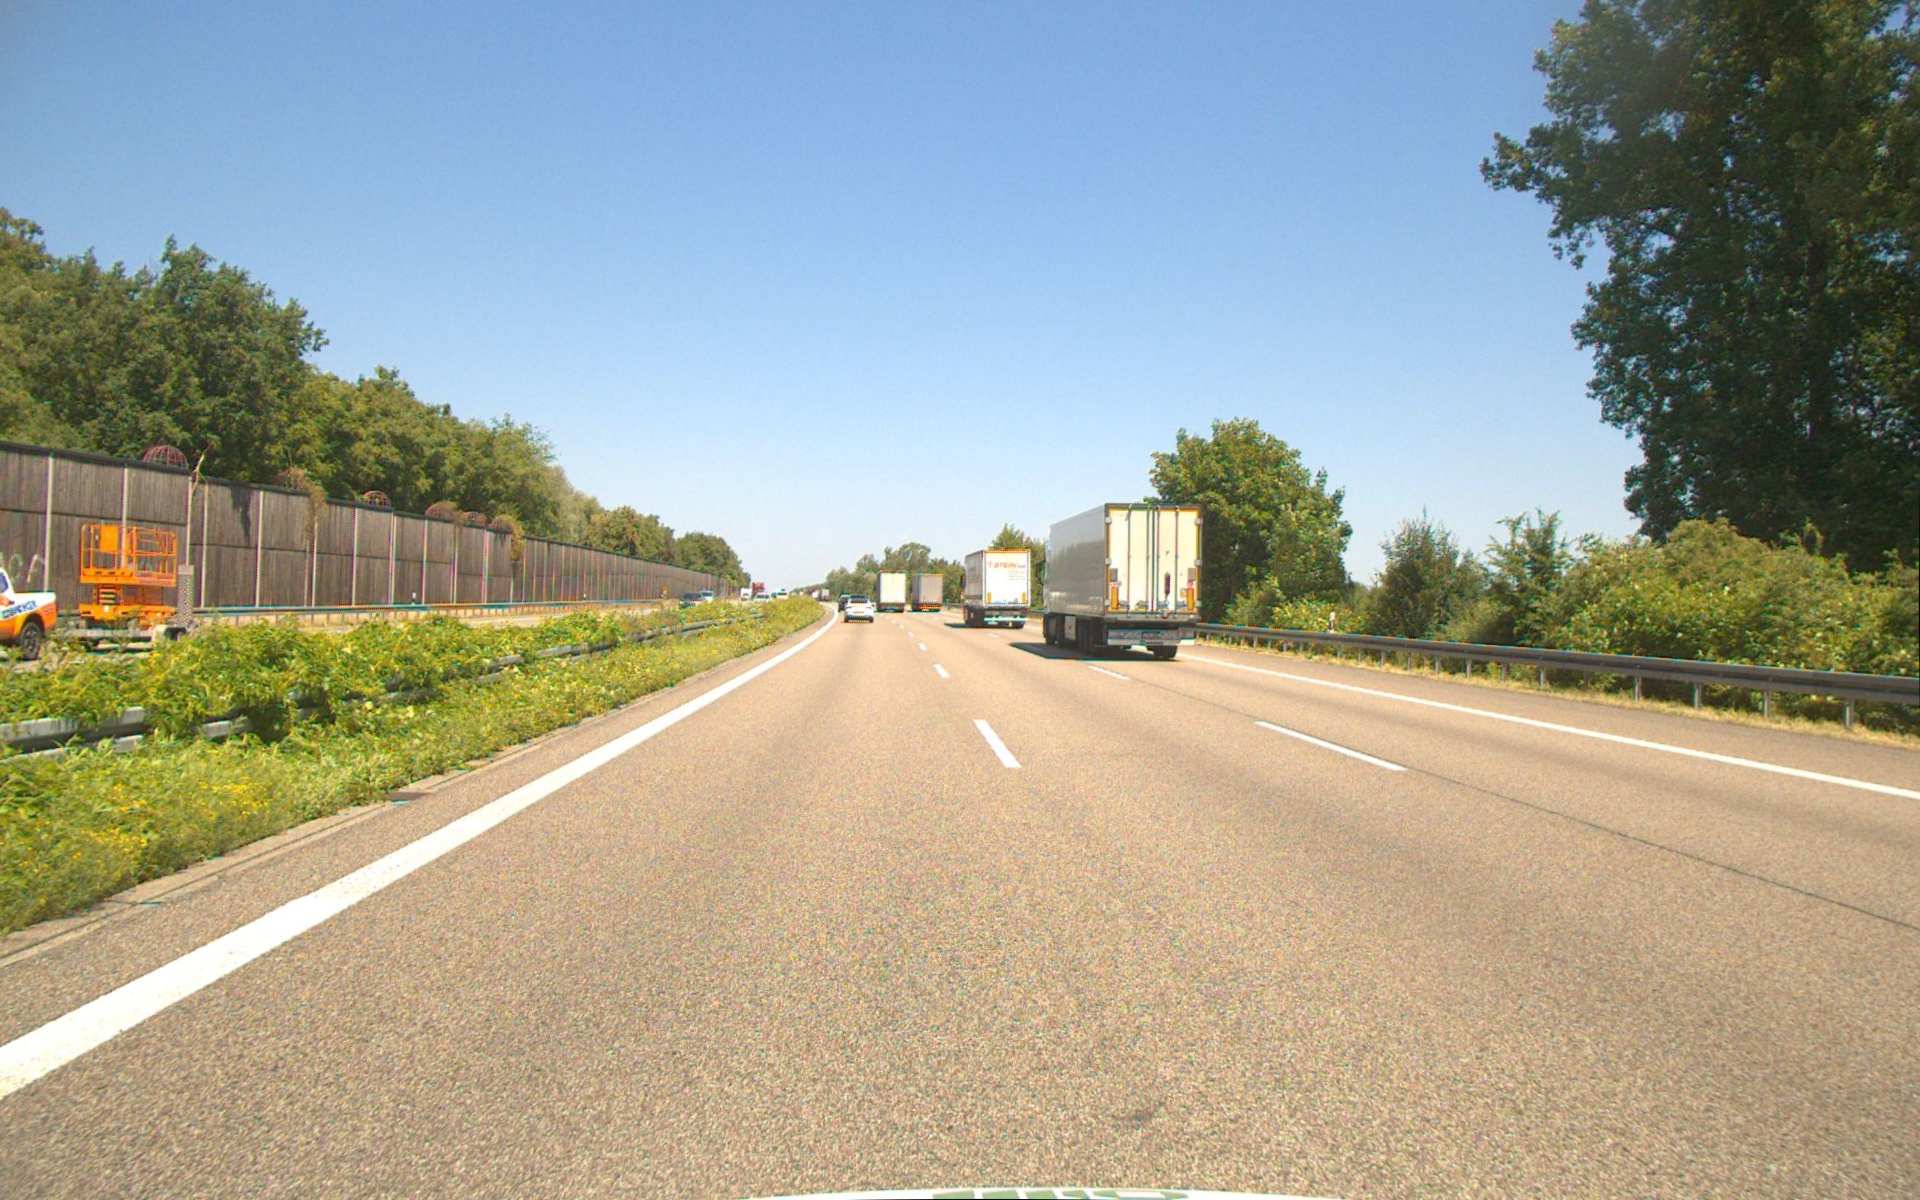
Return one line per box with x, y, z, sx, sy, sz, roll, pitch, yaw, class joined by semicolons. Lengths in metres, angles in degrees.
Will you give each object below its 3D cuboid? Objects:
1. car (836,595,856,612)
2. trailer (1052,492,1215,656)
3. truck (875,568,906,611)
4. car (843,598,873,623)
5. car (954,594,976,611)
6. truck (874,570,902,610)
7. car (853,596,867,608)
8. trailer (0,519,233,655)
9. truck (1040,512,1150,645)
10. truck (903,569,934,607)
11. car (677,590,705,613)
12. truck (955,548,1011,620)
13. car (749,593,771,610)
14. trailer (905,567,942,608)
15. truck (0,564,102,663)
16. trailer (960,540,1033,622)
-11.341;0.332;164.586;1.818;1.645;3.997;1;0;-3;car
4.788;-0.668;48.618;2.900;4.178;12.526;1;0;-3;trailer
-7.251;-1.041;170.503;2.654;4.157;13.462;2;0;-4;truck
-6.231;0.628;101.388;1.818;1.512;3.997;1;0;-3;car
0.514;0.277;164.777;1.819;1.645;3.996;1;0;-5;car
-7.707;-1.014;175.987;2.674;4.157;7.270;2;0;-4;truck
-13.626;0.255;224.672;1.818;1.645;3.997;1;0;-3;car
-19.101;-0.276;37.849;2.197;2.824;6.506;1;0;-2;trailer
4.432;-0.676;55.509;2.900;4.178;6.203;1;0;-3;truck
-4.830;-1.350;190.583;2.640;4.289;7.825;2;0;-7;truck
-20.618;0.127;127.106;1.956;1.676;4.685;1;0;-8;car
1.339;-0.917;99.693;2.654;4.160;6.958;1;0;-4;truck
-20.007;0.165;165.468;1.954;1.676;5.041;1;0;-4;car
-4.110;-1.351;184.925;2.652;4.289;13.189;2;0;-7;trailer
-18.887;0.231;31.462;2.058;1.848;6.208;1;0;-2;truck
1.893;-0.973;92.751;2.654;4.160;14.137;1;0;-4;trailer
